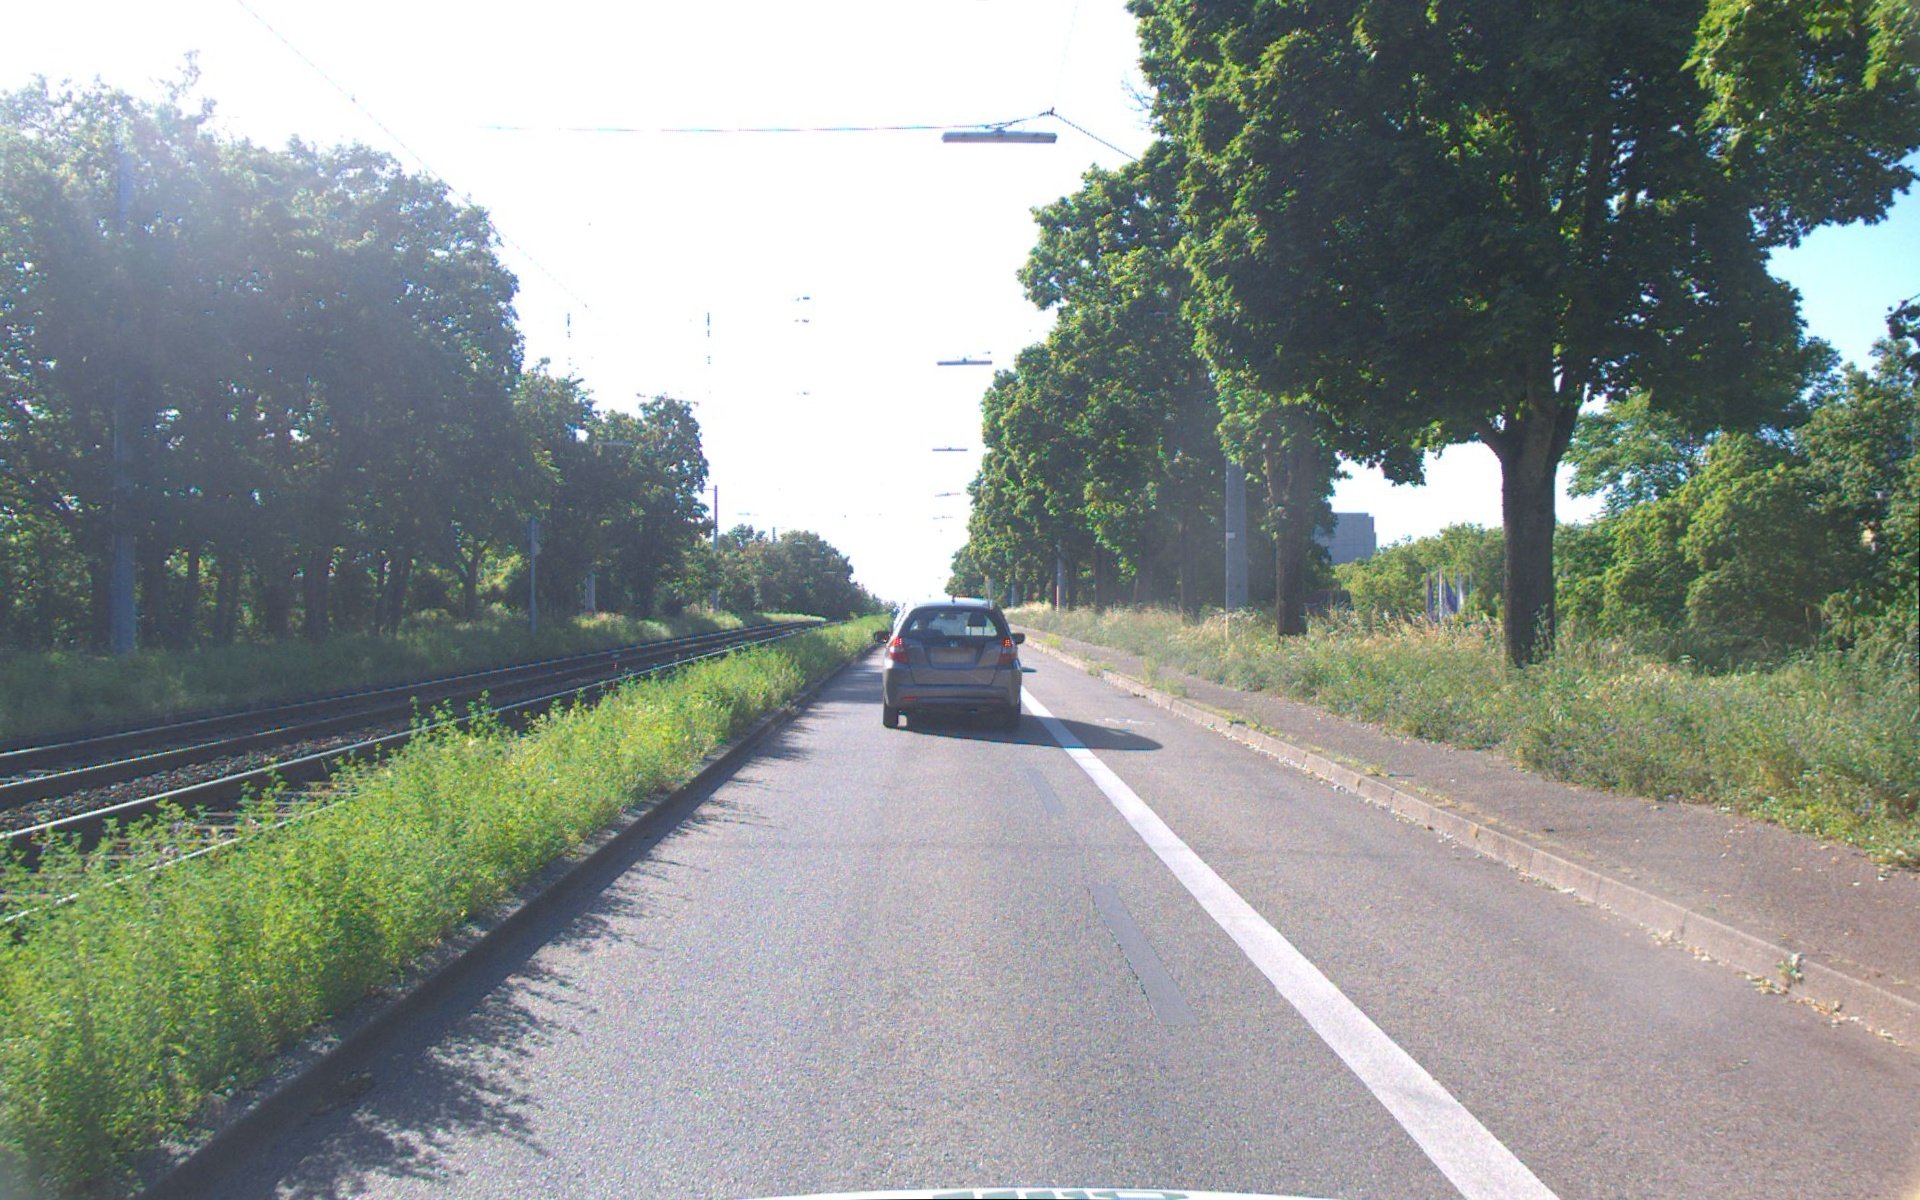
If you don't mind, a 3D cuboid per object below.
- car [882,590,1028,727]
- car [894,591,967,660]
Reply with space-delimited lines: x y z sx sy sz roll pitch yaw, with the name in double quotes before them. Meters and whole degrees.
"car" -0.063 0.674 20.793 1.636 1.534 3.810 1 0 0
"car" -0.683 0.591 39.403 1.621 1.534 3.810 1 0 0
